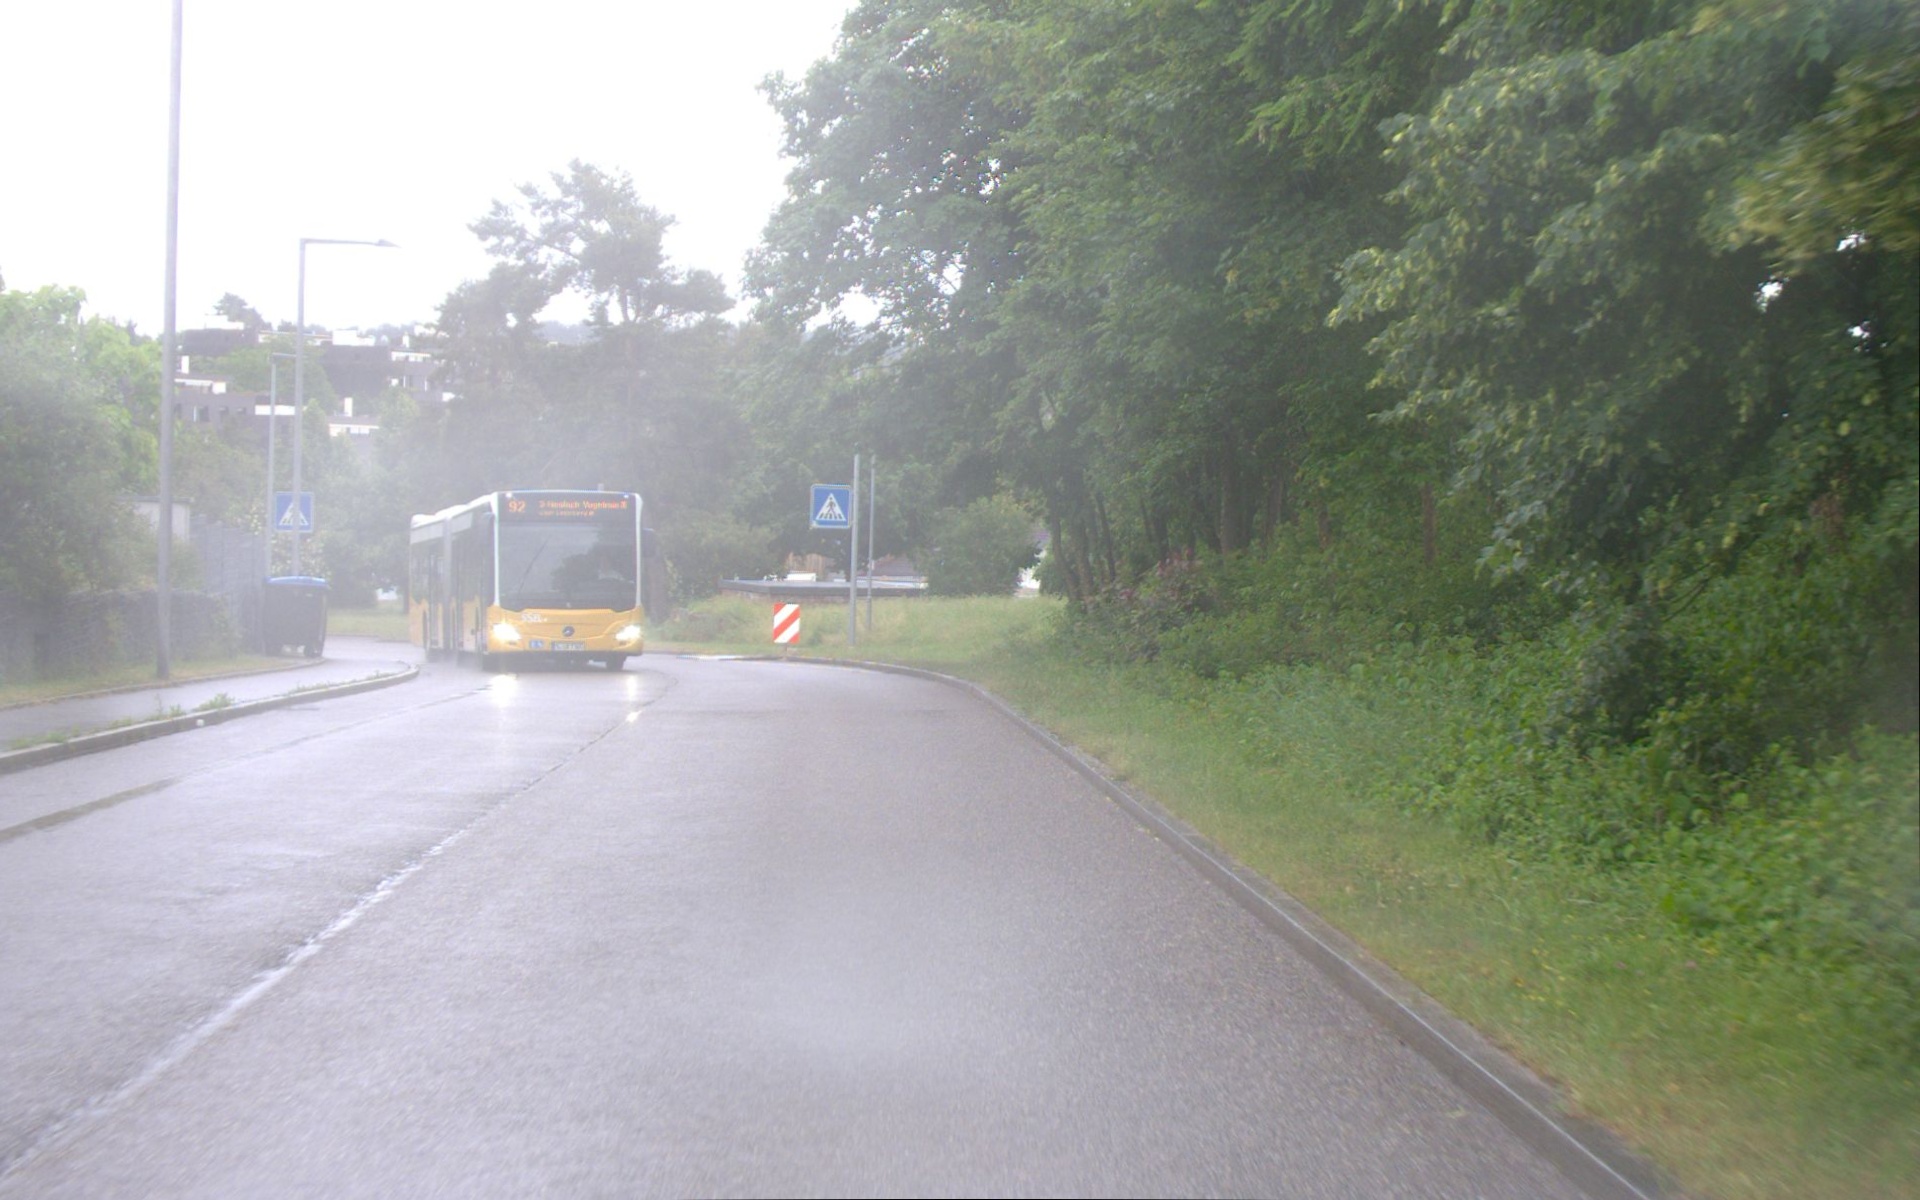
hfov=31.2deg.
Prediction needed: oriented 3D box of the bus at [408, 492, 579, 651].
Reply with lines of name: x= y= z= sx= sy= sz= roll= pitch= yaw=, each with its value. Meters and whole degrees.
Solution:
bus: x=-9.541 y=-0.542 z=69.671 sx=2.639 sy=3.022 sz=7.668 roll=1 pitch=0 yaw=-14

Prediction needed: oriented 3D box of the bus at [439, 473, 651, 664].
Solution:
bus: x=-7.466 y=-0.513 z=60.572 sx=2.639 sy=3.057 sz=10.858 roll=0 pitch=0 yaw=-13

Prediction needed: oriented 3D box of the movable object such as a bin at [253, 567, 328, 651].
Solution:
movable object such as a bin: x=-11.234 y=0.144 z=57.671 sx=1.131 sy=1.335 sz=1.399 roll=4 pitch=0 yaw=-12
